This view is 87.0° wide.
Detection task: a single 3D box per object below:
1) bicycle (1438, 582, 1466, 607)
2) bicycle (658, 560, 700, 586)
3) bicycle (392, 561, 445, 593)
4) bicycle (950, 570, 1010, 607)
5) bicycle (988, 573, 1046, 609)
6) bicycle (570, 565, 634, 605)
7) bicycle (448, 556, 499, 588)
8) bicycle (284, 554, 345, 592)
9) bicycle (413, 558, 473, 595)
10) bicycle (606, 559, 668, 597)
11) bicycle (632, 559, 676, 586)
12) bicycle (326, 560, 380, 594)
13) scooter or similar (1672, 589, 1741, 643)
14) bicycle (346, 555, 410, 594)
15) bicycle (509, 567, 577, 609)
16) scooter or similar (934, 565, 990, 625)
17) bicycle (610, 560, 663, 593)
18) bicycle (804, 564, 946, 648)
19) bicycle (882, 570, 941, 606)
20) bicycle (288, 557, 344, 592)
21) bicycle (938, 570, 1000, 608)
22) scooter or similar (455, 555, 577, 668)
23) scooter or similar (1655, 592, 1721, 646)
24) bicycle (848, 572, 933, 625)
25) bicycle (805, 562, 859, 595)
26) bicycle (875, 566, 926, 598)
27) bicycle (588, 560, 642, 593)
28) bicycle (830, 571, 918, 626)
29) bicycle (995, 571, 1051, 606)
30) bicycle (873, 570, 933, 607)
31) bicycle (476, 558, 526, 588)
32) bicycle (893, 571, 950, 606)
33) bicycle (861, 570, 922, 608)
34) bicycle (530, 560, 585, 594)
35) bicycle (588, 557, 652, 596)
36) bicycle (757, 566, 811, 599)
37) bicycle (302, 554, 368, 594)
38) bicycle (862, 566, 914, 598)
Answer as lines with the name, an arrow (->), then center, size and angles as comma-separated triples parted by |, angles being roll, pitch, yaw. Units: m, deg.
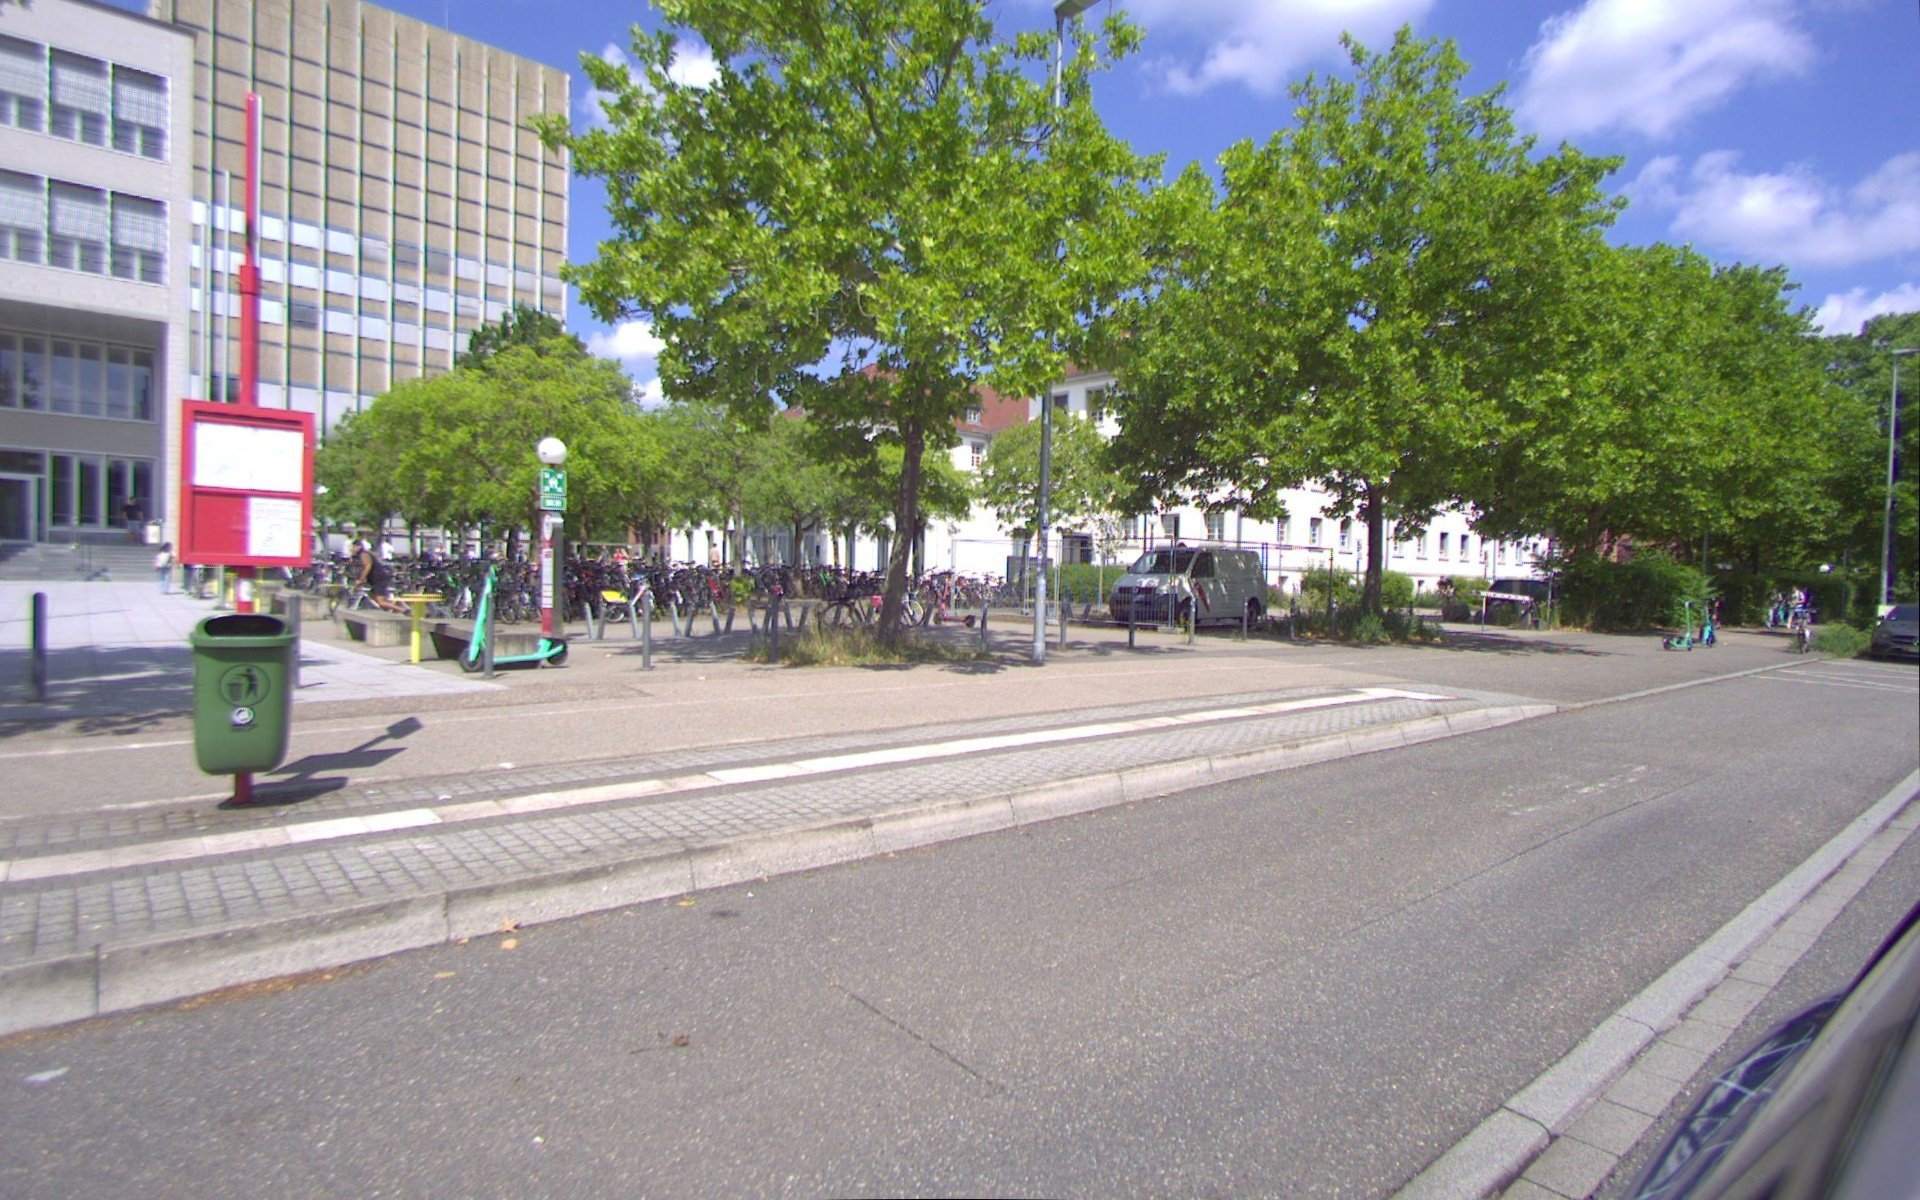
bicycle -> 22.833, -0.264, 46.942 | 1.561, 1.151, 0.607 | -1, 4, -44
bicycle -> -12.191, -1.154, 43.879 | 1.744, 1.113, 0.600 | 0, 0, 18
bicycle -> -19.096, -0.793, 35.693 | 1.744, 1.113, 0.600 | 0, 0, 18
bicycle -> 0.615, -0.349, 30.987 | 1.744, 1.113, 0.600 | 0, 0, 19
bicycle -> 1.794, -0.290, 31.744 | 1.744, 1.113, 0.600 | 0, 0, 18
bicycle -> -10.155, -0.423, 28.710 | 1.744, 1.113, 0.600 | 0, 0, 18
bicycle -> -17.436, -0.989, 36.264 | 1.744, 1.113, 0.600 | 0, 0, 18
bicycle -> -19.410, -0.806, 30.434 | 1.744, 1.113, 0.600 | 0, 0, 18
bicycle -> -15.961, -0.725, 31.231 | 1.744, 1.113, 0.600 | 0, 0, 18
bicycle -> -9.577, -0.649, 30.031 | 1.744, 1.113, 0.600 | 0, 0, 18
bicycle -> -12.768, -1.144, 42.215 | 1.744, 1.113, 0.600 | 0, 0, 18
bicycle -> -20.727, -0.779, 34.549 | 1.744, 1.113, 0.600 | 0, 0, 18
scooter or similar -> 18.357, 0.391, 24.905 | 1.263, 1.261, 0.531 | 3, 2, -7
bicycle -> -16.869, -0.719, 29.332 | 1.744, 1.113, 0.600 | 0, 0, 18
bicycle -> -11.382, -0.325, 27.628 | 1.744, 1.113, 0.600 | 0, 0, 18
scooter or similar -> 0.035, -0.123, 21.752 | 1.290, 1.248, 0.277 | 1, 2, 35
bicycle -> -11.256, -0.808, 35.197 | 1.744, 1.113, 0.600 | 0, 0, 18
bicycle -> -1.270, 0.080, 15.291 | 1.991, 1.198, 0.801 | 0, 1, -31
bicycle -> -1.524, -0.370, 31.618 | 1.744, 1.113, 0.600 | 0, 0, 19
bicycle -> -21.100, -0.833, 33.148 | 1.744, 1.113, 0.600 | 0, 0, 18
bicycle -> 0.258, -0.337, 30.006 | 1.744, 1.113, 0.600 | 0, 0, 19
scooter or similar -> -4.838, 0.111, 11.057 | 1.172, 1.180, 0.353 | 0, 0, -41
scooter or similar -> 16.747, 0.445, 23.272 | 1.542, 1.183, 0.531 | 2, 2, -28
bicycle -> -1.492, -0.043, 21.687 | 1.744, 1.113, 0.600 | 0, 0, 19
bicycle -> -4.314, -0.717, 34.164 | 1.744, 1.113, 0.600 | 0, 0, 18
bicycle -> -2.124, -0.640, 36.341 | 1.744, 1.113, 0.600 | 0, 0, 18
bicycle -> -11.741, -0.800, 34.453 | 1.744, 1.113, 0.600 | 0, 0, 18
bicycle -> -1.794, -0.035, 21.057 | 1.744, 1.113, 0.600 | 0, 0, 19
bicycle -> 2.063, -0.373, 33.016 | 1.744, 1.113, 0.600 | 0, 0, 18
bicycle -> -1.729, -0.347, 30.930 | 1.744, 1.113, 0.600 | 0, 0, 19
bicycle -> -16.959, -0.995, 37.423 | 1.744, 1.113, 0.600 | 0, 0, 18
bicycle -> -1.223, -0.363, 32.258 | 1.744, 1.113, 0.600 | 0, 0, 19
bicycle -> -2.039, -0.338, 30.138 | 1.744, 1.113, 0.600 | 0, 0, 19
bicycle -> -13.628, -0.778, 34.268 | 1.744, 1.113, 0.600 | 0, 0, 18
bicycle -> -9.844, -0.685, 29.307 | 1.744, 1.113, 0.600 | 0, 0, 18
bicycle -> -6.053, -0.610, 34.794 | 1.744, 1.113, 0.600 | 0, 0, 18
bicycle -> -17.663, -0.720, 28.608 | 1.744, 1.113, 0.600 | 0, 0, 18
bicycle -> -2.551, -0.623, 35.771 | 1.744, 1.113, 0.600 | 0, 0, 18
